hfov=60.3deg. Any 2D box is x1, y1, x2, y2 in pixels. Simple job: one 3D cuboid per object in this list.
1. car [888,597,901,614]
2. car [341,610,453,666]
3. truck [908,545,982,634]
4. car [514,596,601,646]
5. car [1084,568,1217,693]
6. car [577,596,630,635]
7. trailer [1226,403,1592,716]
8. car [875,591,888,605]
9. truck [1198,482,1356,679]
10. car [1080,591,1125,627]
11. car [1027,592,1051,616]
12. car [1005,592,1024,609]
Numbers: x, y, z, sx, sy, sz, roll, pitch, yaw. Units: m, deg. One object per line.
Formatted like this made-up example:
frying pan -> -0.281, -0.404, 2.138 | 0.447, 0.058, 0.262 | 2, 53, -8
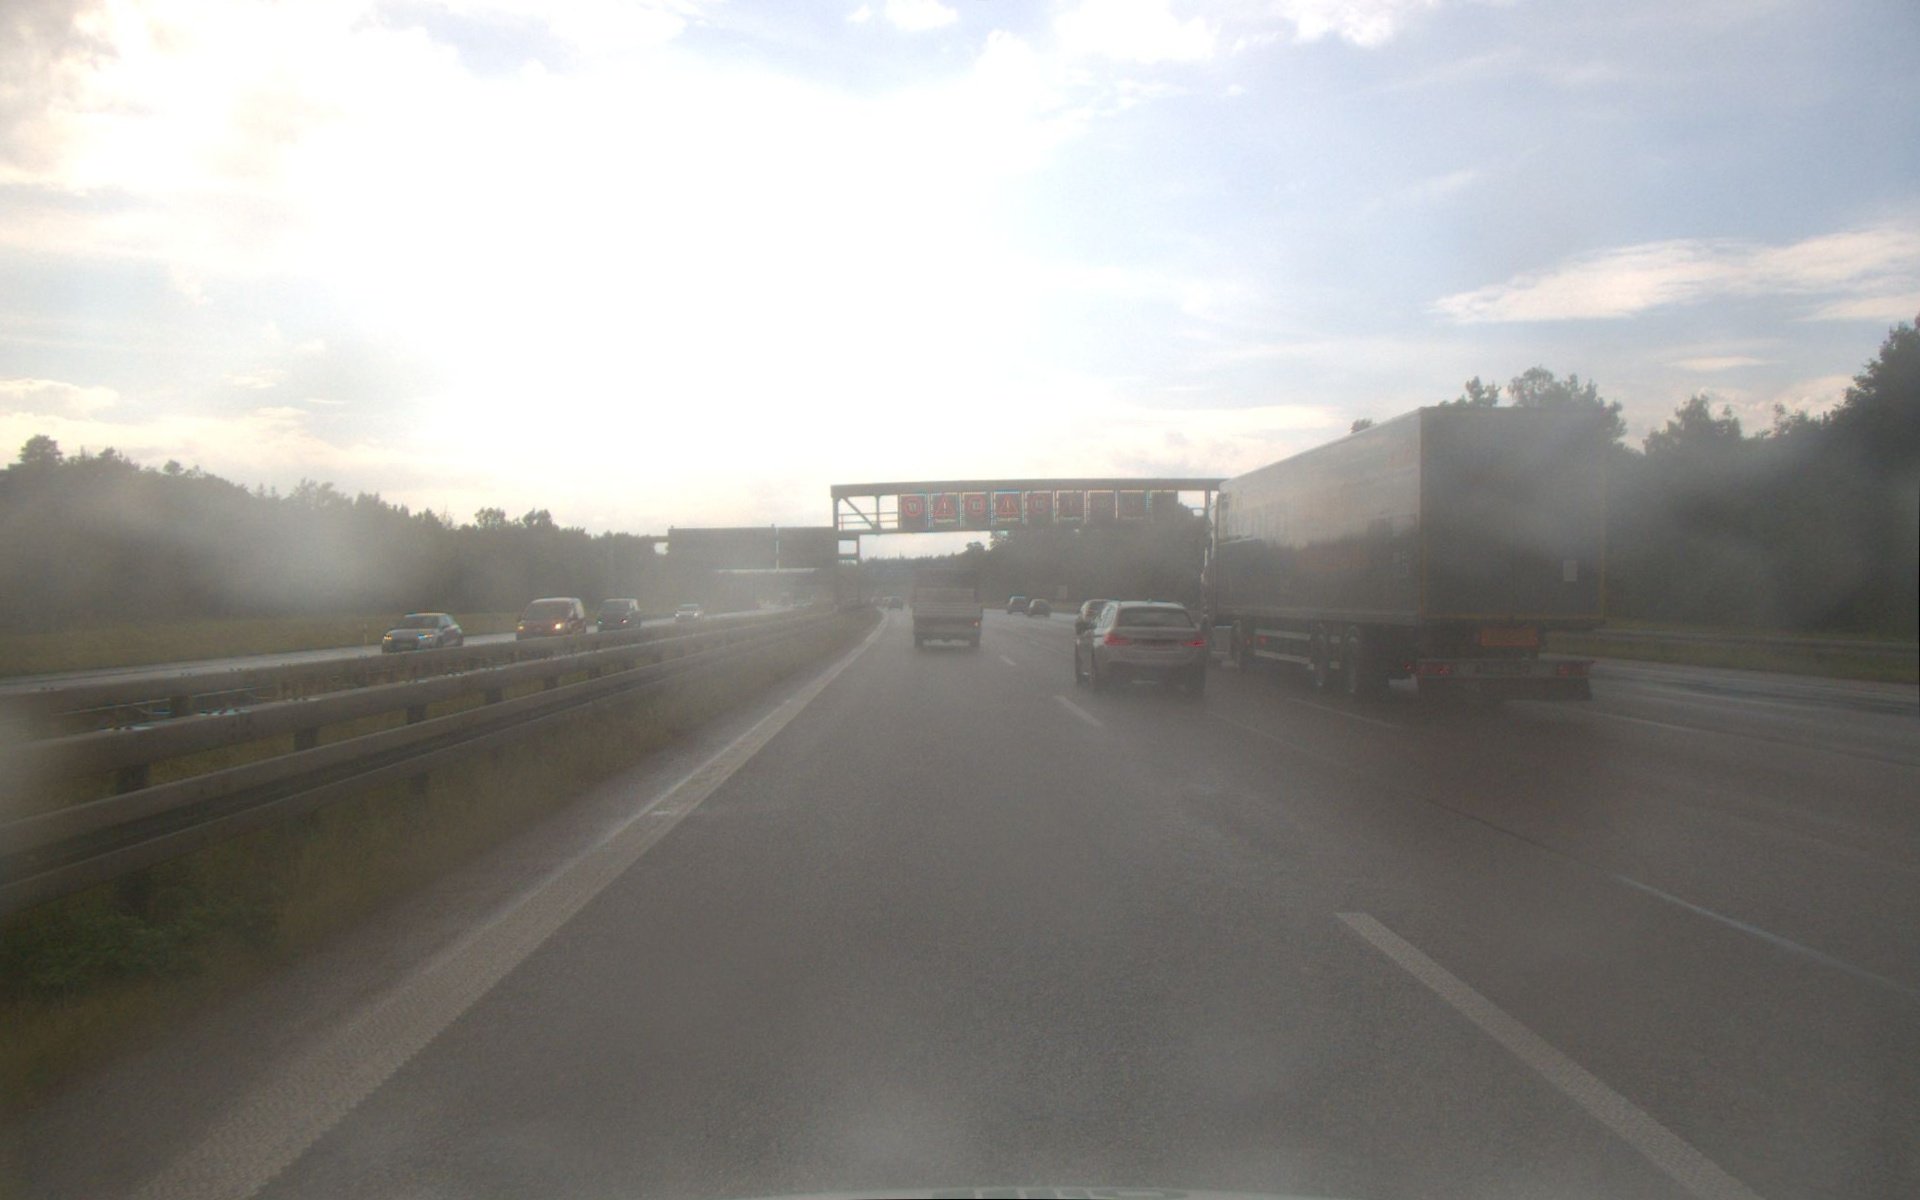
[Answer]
car -> -8.292, 0.730, 210.096 | 1.584, 2.049, 3.999 | 1, 0, -2
car -> -17.477, 1.142, 51.573 | 1.953, 1.526, 4.607 | -2, 0, -1
truck -> -0.390, -0.318, 50.075 | 2.093, 2.532, 5.313 | 0, 0, 1
car -> -13.869, 0.684, 57.201 | 1.953, 1.637, 4.607 | 0, 0, -1
car -> 3.160, 0.461, 28.294 | 2.034, 1.918, 5.014 | 1, 0, 4
car -> -19.555, 0.831, 90.939 | 1.953, 1.950, 4.722 | -3, 0, -2
trailer -> 6.945, -0.551, 28.267 | 2.277, 4.071, 13.407 | 0, 0, -2
car -> -12.191, -0.357, 256.667 | 1.758, 2.049, 4.000 | 1, 0, 0
truck -> 6.736, -0.403, 35.812 | 2.247, 3.935, 5.390 | 0, 0, -2
car -> 6.185, 0.358, 72.076 | 1.793, 1.492, 4.001 | 1, 0, 3
car -> 6.876, 0.323, 144.668 | 1.952, 2.049, 4.001 | 1, 0, 2
car -> 5.565, 0.029, 169.846 | 1.705, 1.718, 3.999 | 0, 0, -2
